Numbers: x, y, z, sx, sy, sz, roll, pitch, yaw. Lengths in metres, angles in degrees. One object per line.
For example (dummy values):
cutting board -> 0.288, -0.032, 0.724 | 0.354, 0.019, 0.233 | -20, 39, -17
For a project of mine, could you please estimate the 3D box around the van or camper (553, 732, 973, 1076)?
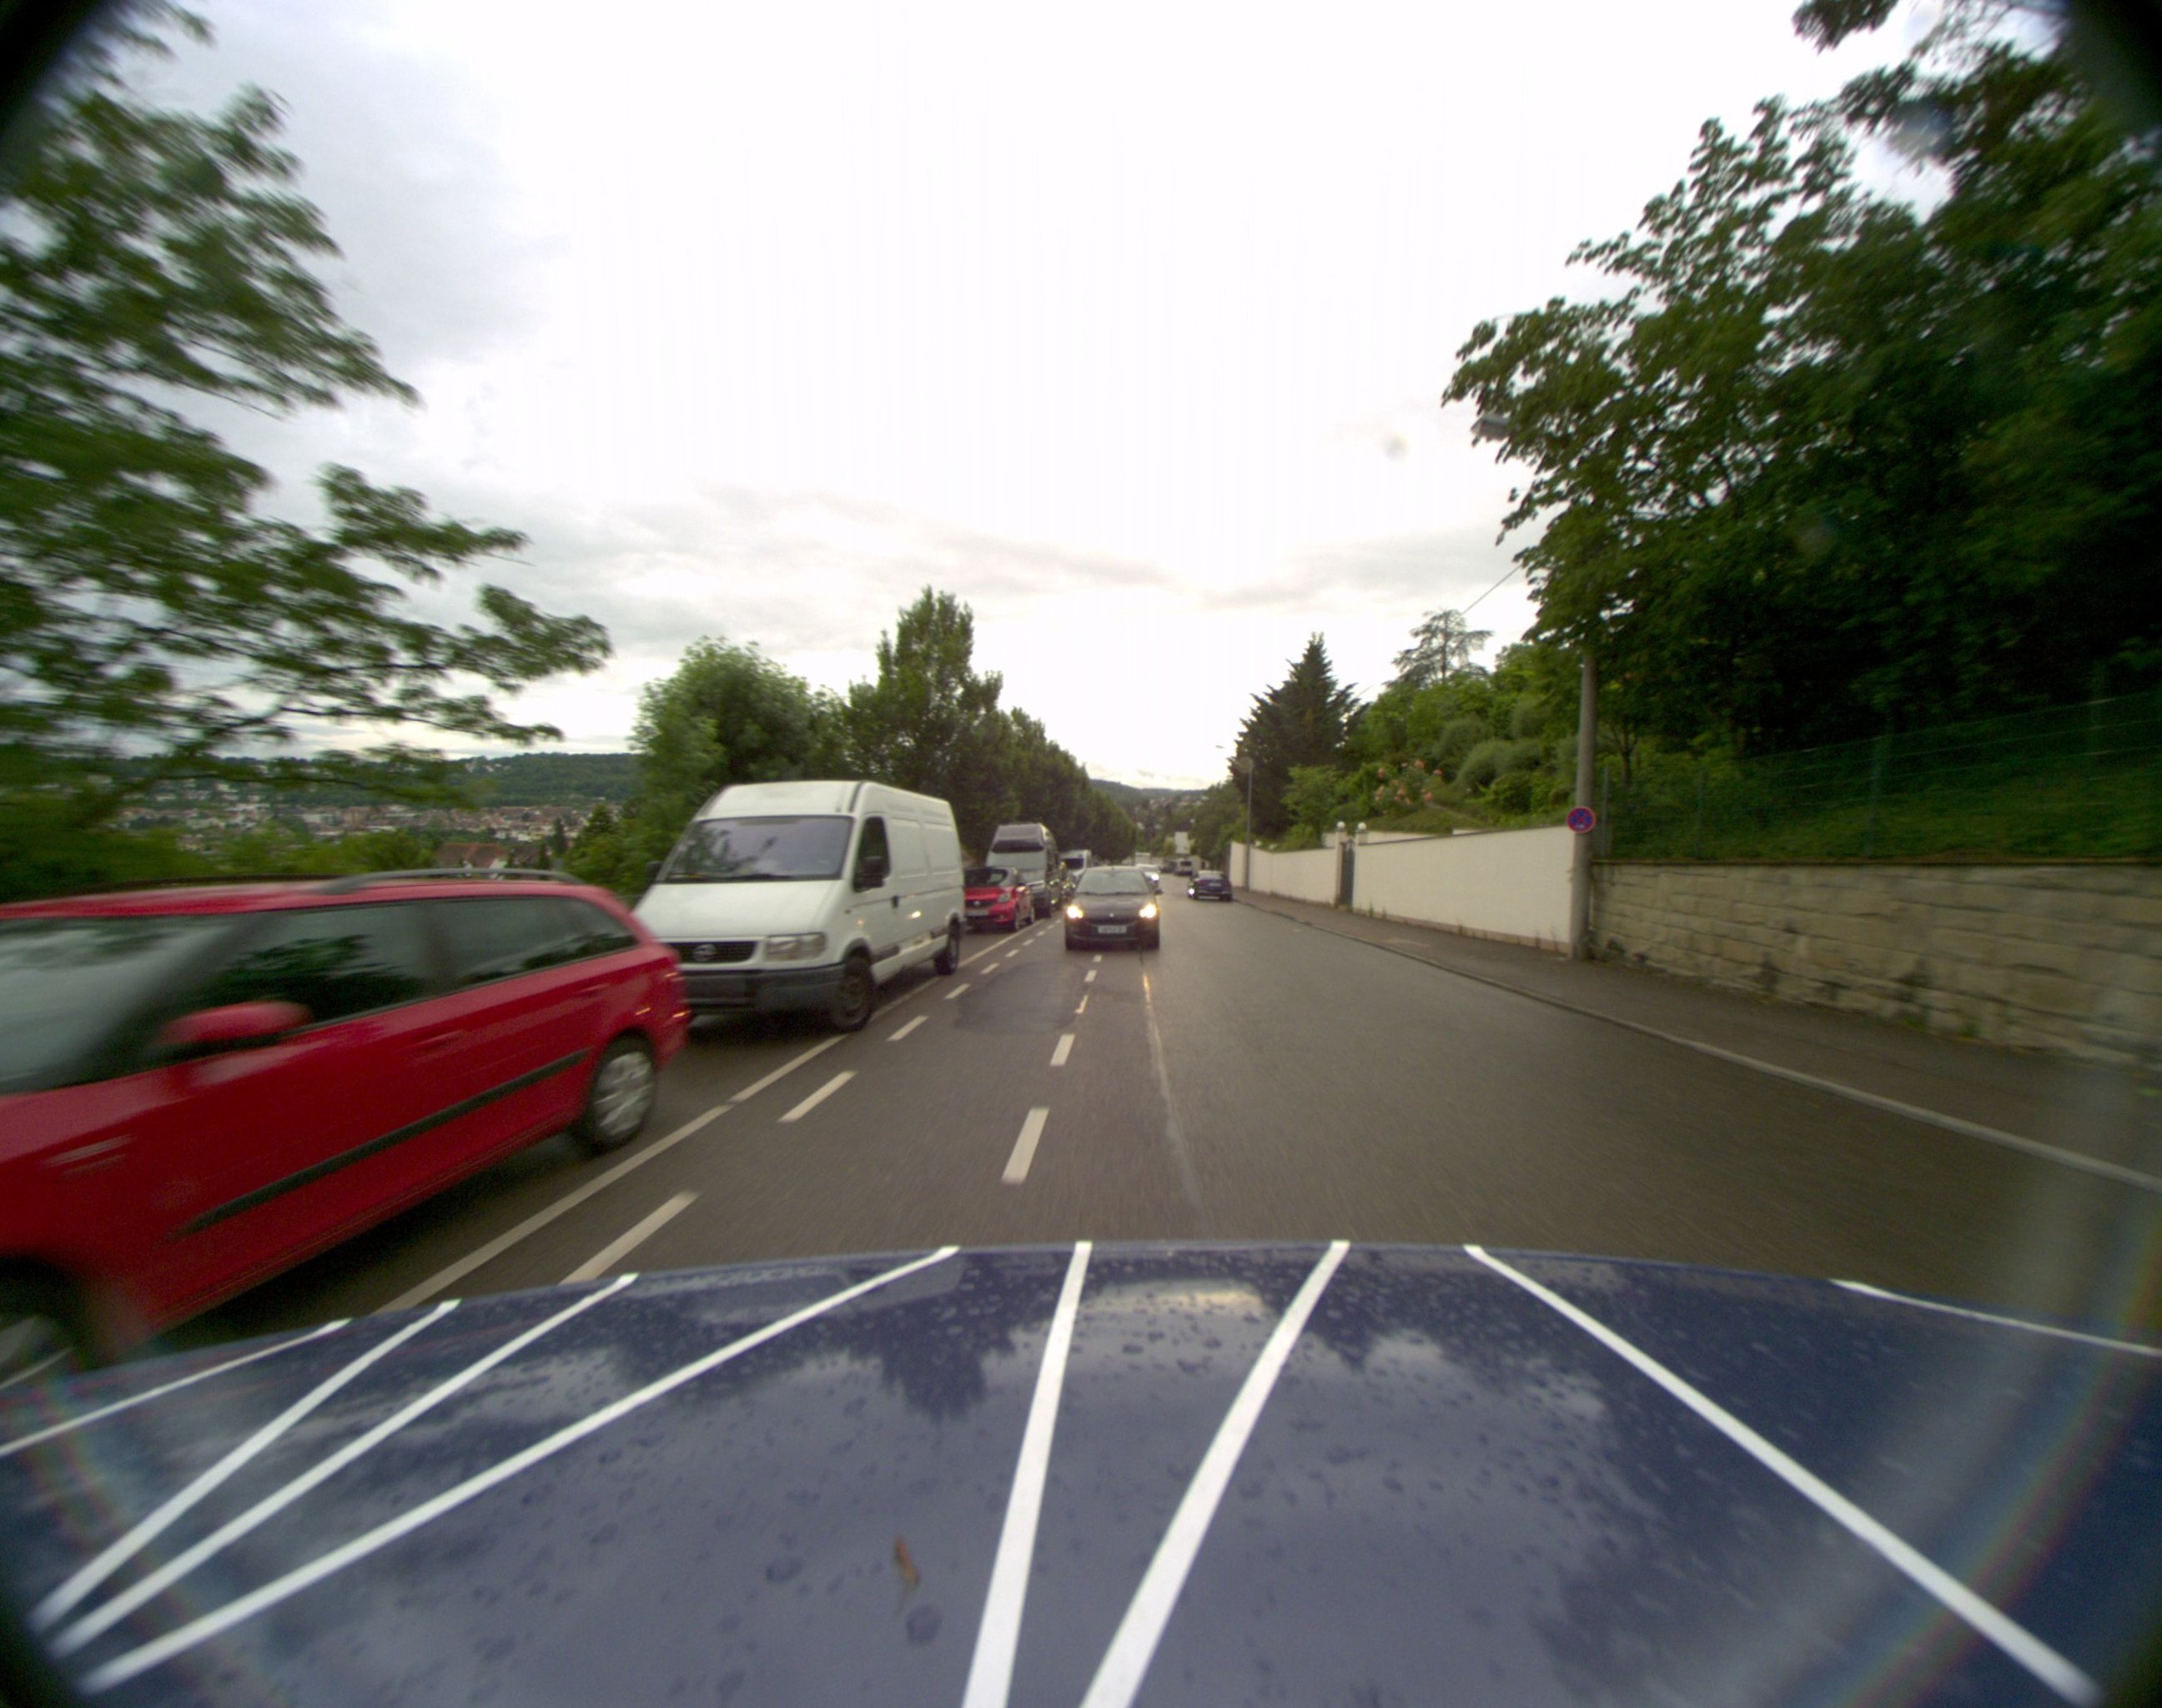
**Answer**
van or camper -> -2.896, 0.423, 8.719 | 2.078, 2.645, 5.598 | -1, 0, 4

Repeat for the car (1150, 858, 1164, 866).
car -> 14.147, 1.519, 141.864 | 1.852, 1.488, 3.764 | 1, 0, -8

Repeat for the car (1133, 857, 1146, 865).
car -> 11.888, 1.479, 154.276 | 1.852, 1.488, 3.764 | 1, 0, -8

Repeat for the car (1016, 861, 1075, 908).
car -> -1.365, 1.178, 31.044 | 1.724, 1.738, 4.405 | -2, -1, 5

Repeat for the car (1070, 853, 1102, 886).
car -> 0.381, 1.041, 51.673 | 1.724, 2.125, 4.405 | -2, -1, 5

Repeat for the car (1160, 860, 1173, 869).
car -> 15.145, 1.915, 134.869 | 1.851, 1.488, 3.767 | 1, 0, -2

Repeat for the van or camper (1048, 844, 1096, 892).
van or camper -> -0.429, 0.780, 43.439 | 2.169, 2.540, 5.618 | -2, -1, 4

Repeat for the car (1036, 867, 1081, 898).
car -> -1.029, 1.336, 36.846 | 1.724, 1.366, 4.404 | -2, -1, 3

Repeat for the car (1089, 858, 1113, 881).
car -> 1.727, 1.311, 64.309 | 1.724, 1.844, 4.405 | -2, -1, 5

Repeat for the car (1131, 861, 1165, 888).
car -> 4.766, 1.409, 53.360 | 2.190, 1.698, 4.886 | 2, -1, 6

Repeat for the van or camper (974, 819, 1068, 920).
van or camper -> -1.785, 0.477, 24.720 | 2.129, 2.892, 5.730 | -1, 0, 4

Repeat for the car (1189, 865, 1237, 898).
car -> 6.306, 1.288, 36.689 | 1.811, 1.421, 4.255 | 2, 0, 3

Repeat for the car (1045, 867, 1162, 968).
car -> 0.578, 1.014, 13.927 | 1.783, 1.477, 4.408 | 1, 0, 6

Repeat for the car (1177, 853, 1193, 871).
car -> 14.997, 1.107, 109.092 | 2.108, 2.468, 4.568 | 2, 0, 9

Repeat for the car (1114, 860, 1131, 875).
car -> 4.662, 1.519, 85.465 | 1.724, 1.618, 4.405 | -2, -1, 5

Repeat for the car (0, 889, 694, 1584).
car -> -3.355, 0.984, 2.742 | 1.624, 1.531, 4.216 | -1, 0, 2

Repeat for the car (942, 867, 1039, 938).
car -> -2.112, 1.104, 18.726 | 1.686, 1.531, 3.834 | 0, 0, 4
